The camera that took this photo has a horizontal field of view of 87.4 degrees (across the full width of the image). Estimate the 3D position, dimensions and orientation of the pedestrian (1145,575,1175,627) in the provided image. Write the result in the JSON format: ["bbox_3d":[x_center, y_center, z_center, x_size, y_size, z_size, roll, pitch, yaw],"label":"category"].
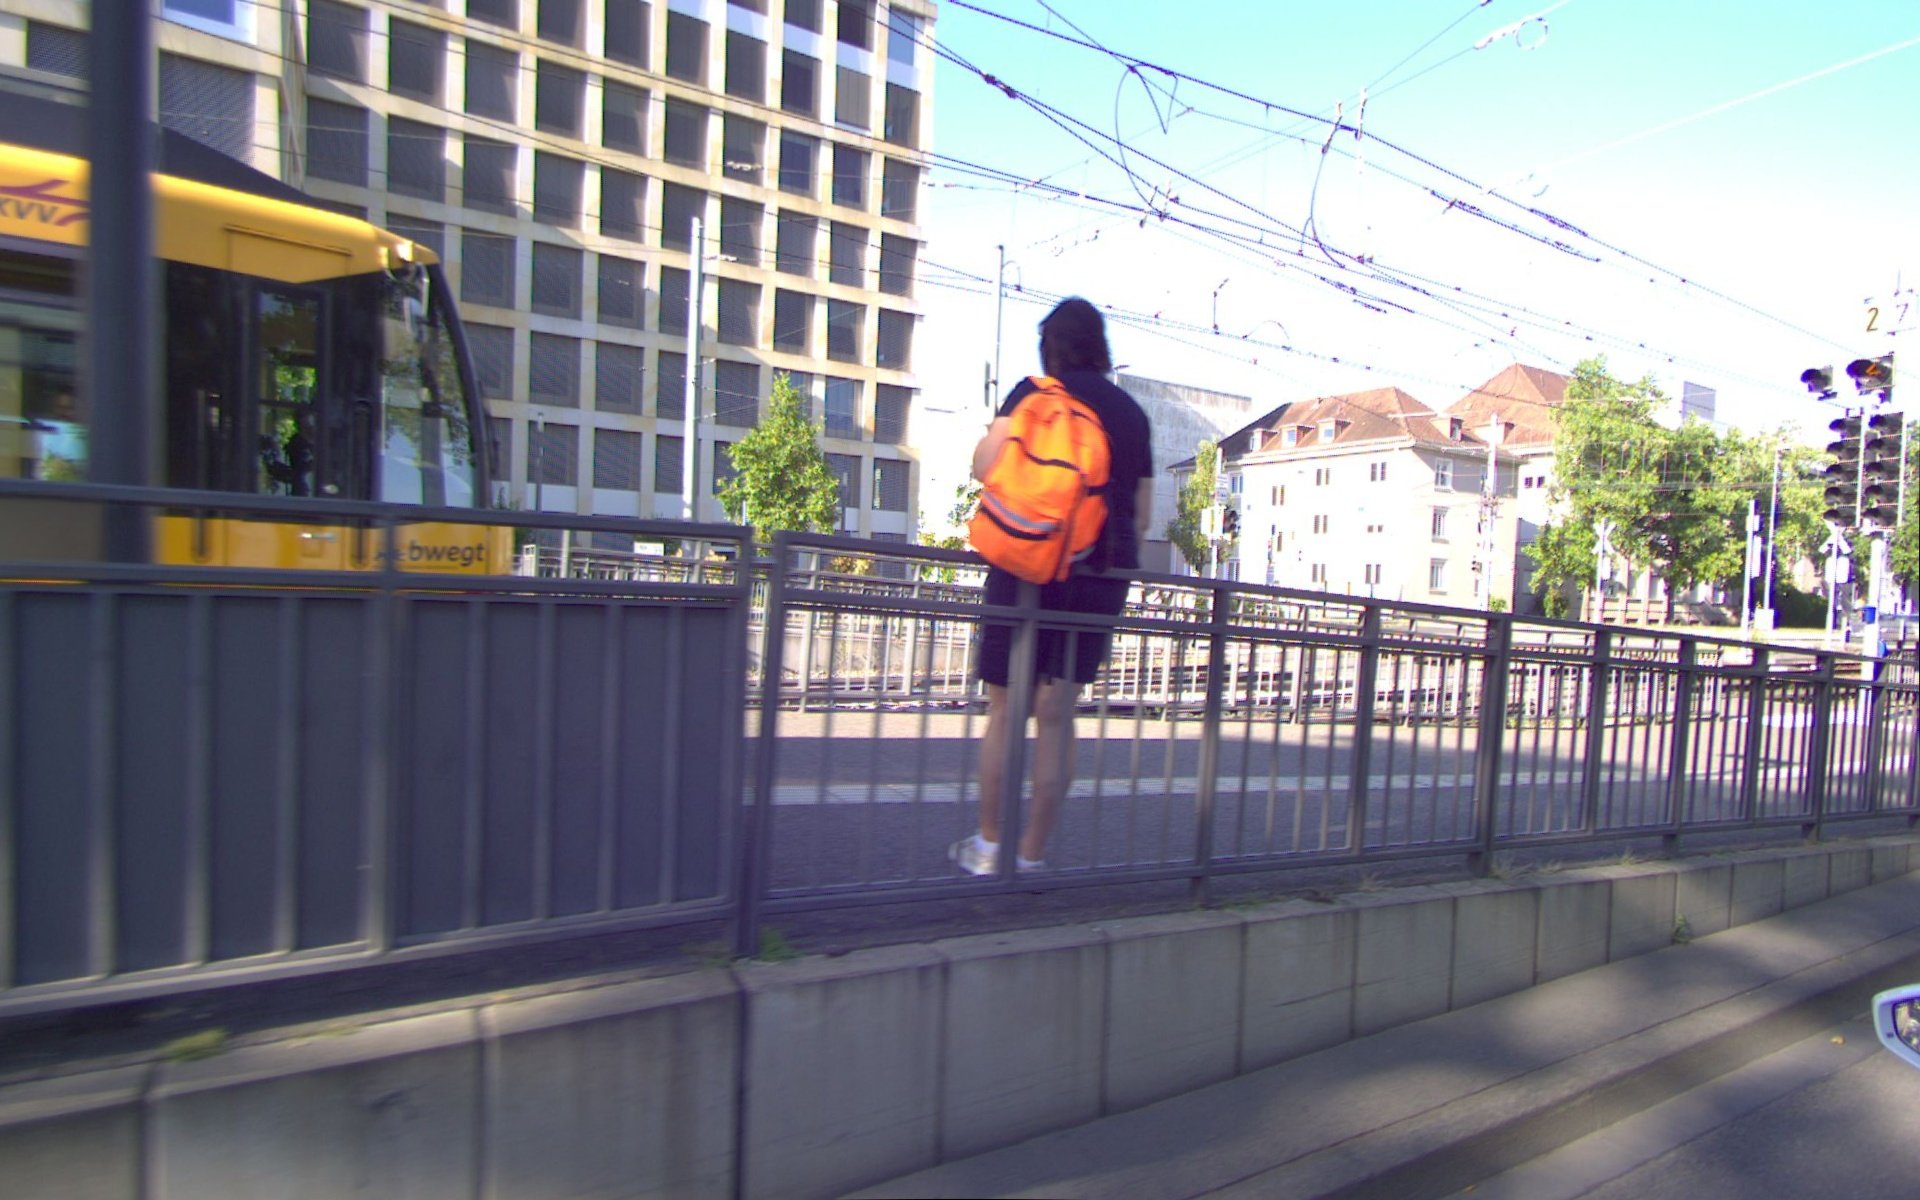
[{"bbox_3d":[6.787,0.028,34.031,0.664,1.740,0.660,1,2,-32],"label":"pedestrian"}]

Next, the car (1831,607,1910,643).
[{"bbox_3d":[44.289,1.207,48.854,3.954,1.568,1.730,2,2,-31],"label":"car"}]

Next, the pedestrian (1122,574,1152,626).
[{"bbox_3d":[6.050,-0.002,34.390,0.664,1.740,0.660,1,2,-32],"label":"pedestrian"}]

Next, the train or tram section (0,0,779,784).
[{"bbox_3d":[-7.150,-1.124,5.422,11.708,3.881,3.292,1,2,-31],"label":"train or tram section"}]

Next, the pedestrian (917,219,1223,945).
[{"bbox_3d":[0.297,-0.034,2.753,0.658,1.740,0.410,1,2,-31],"label":"pedestrian"}]

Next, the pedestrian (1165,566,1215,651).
[{"bbox_3d":[4.815,0.165,21.034,0.713,1.740,0.668,2,2,-19],"label":"pedestrian"}]
